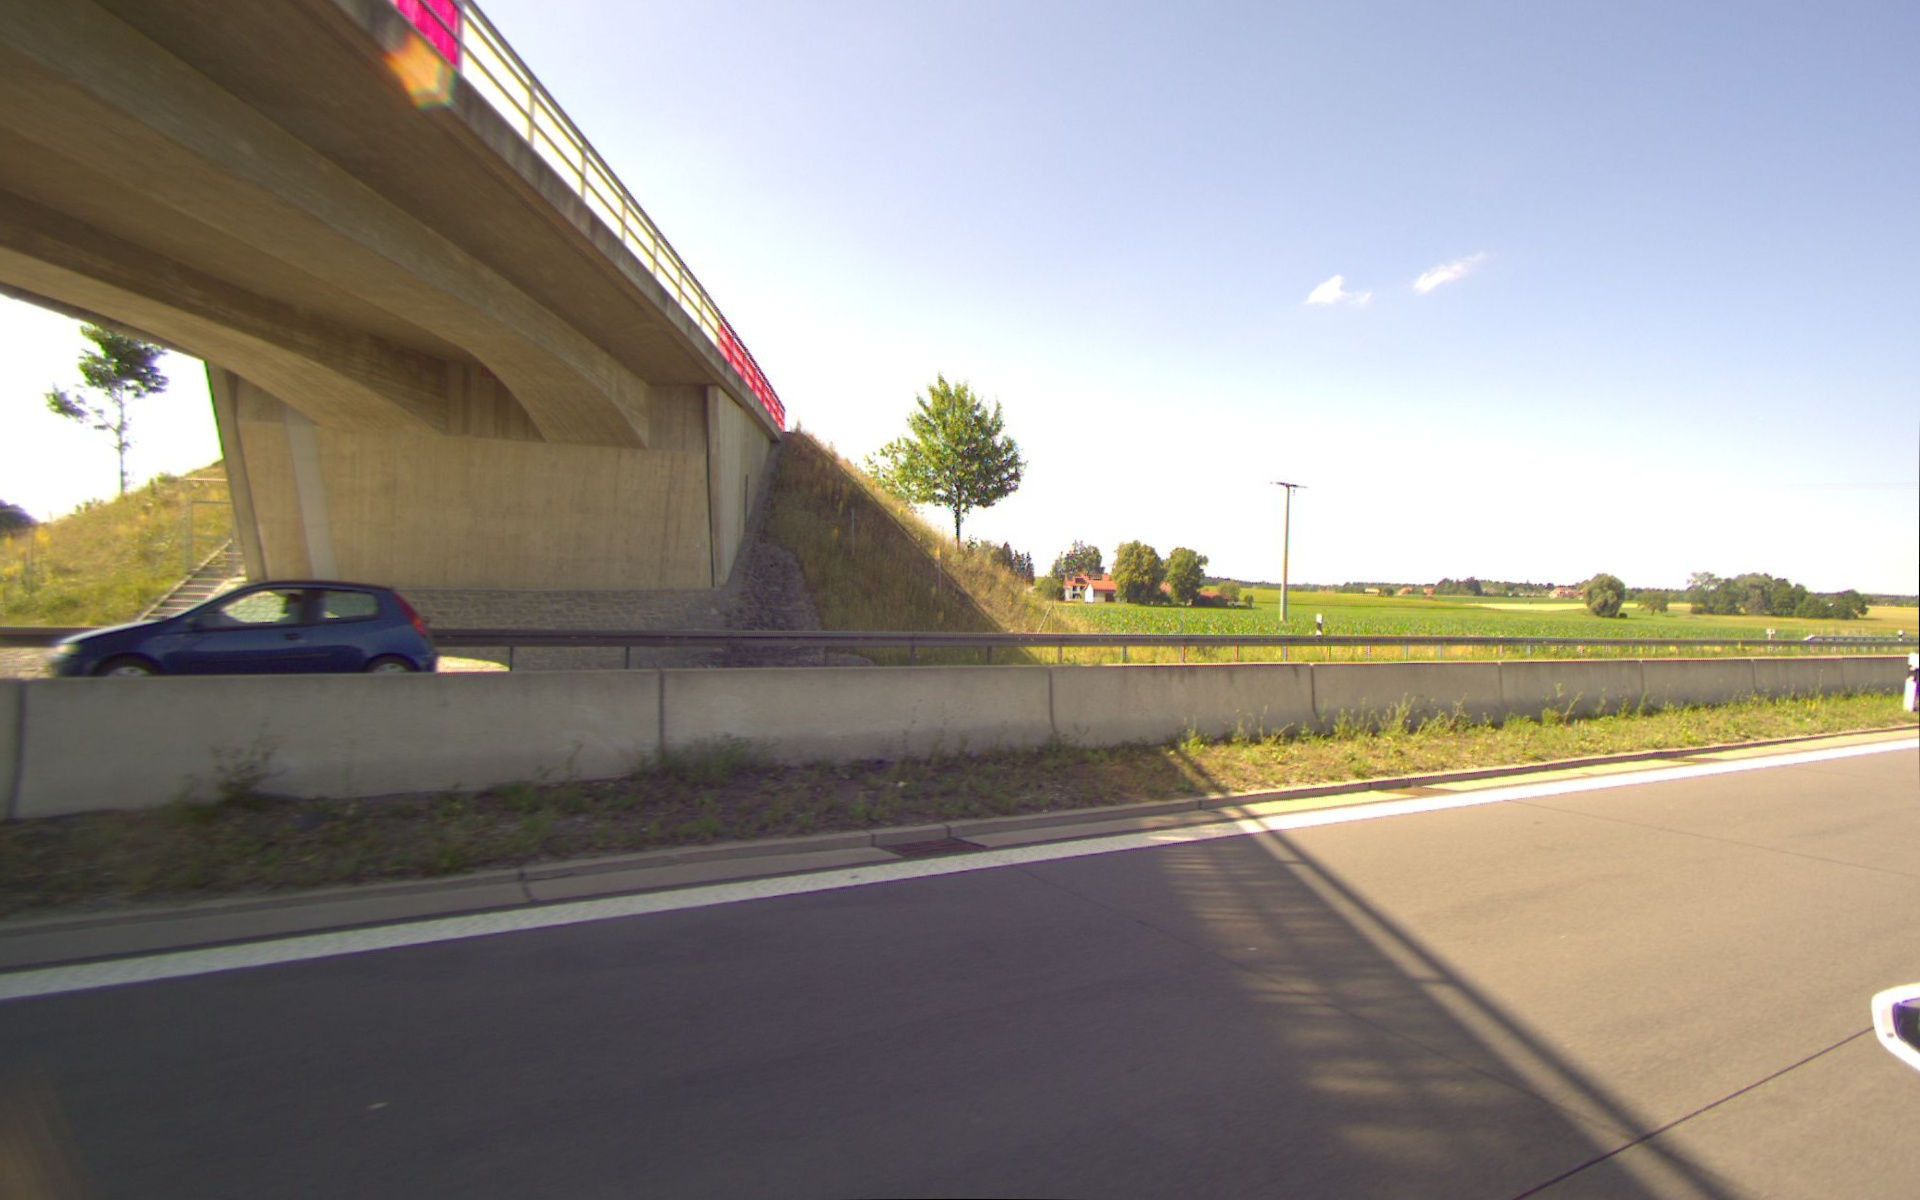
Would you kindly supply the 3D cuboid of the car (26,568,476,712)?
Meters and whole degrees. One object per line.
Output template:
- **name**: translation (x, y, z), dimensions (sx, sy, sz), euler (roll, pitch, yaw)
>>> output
- **car**: translation (-8.240, 0.446, 12.162), dimensions (4.147, 1.480, 1.845), euler (1, 0, -31)
